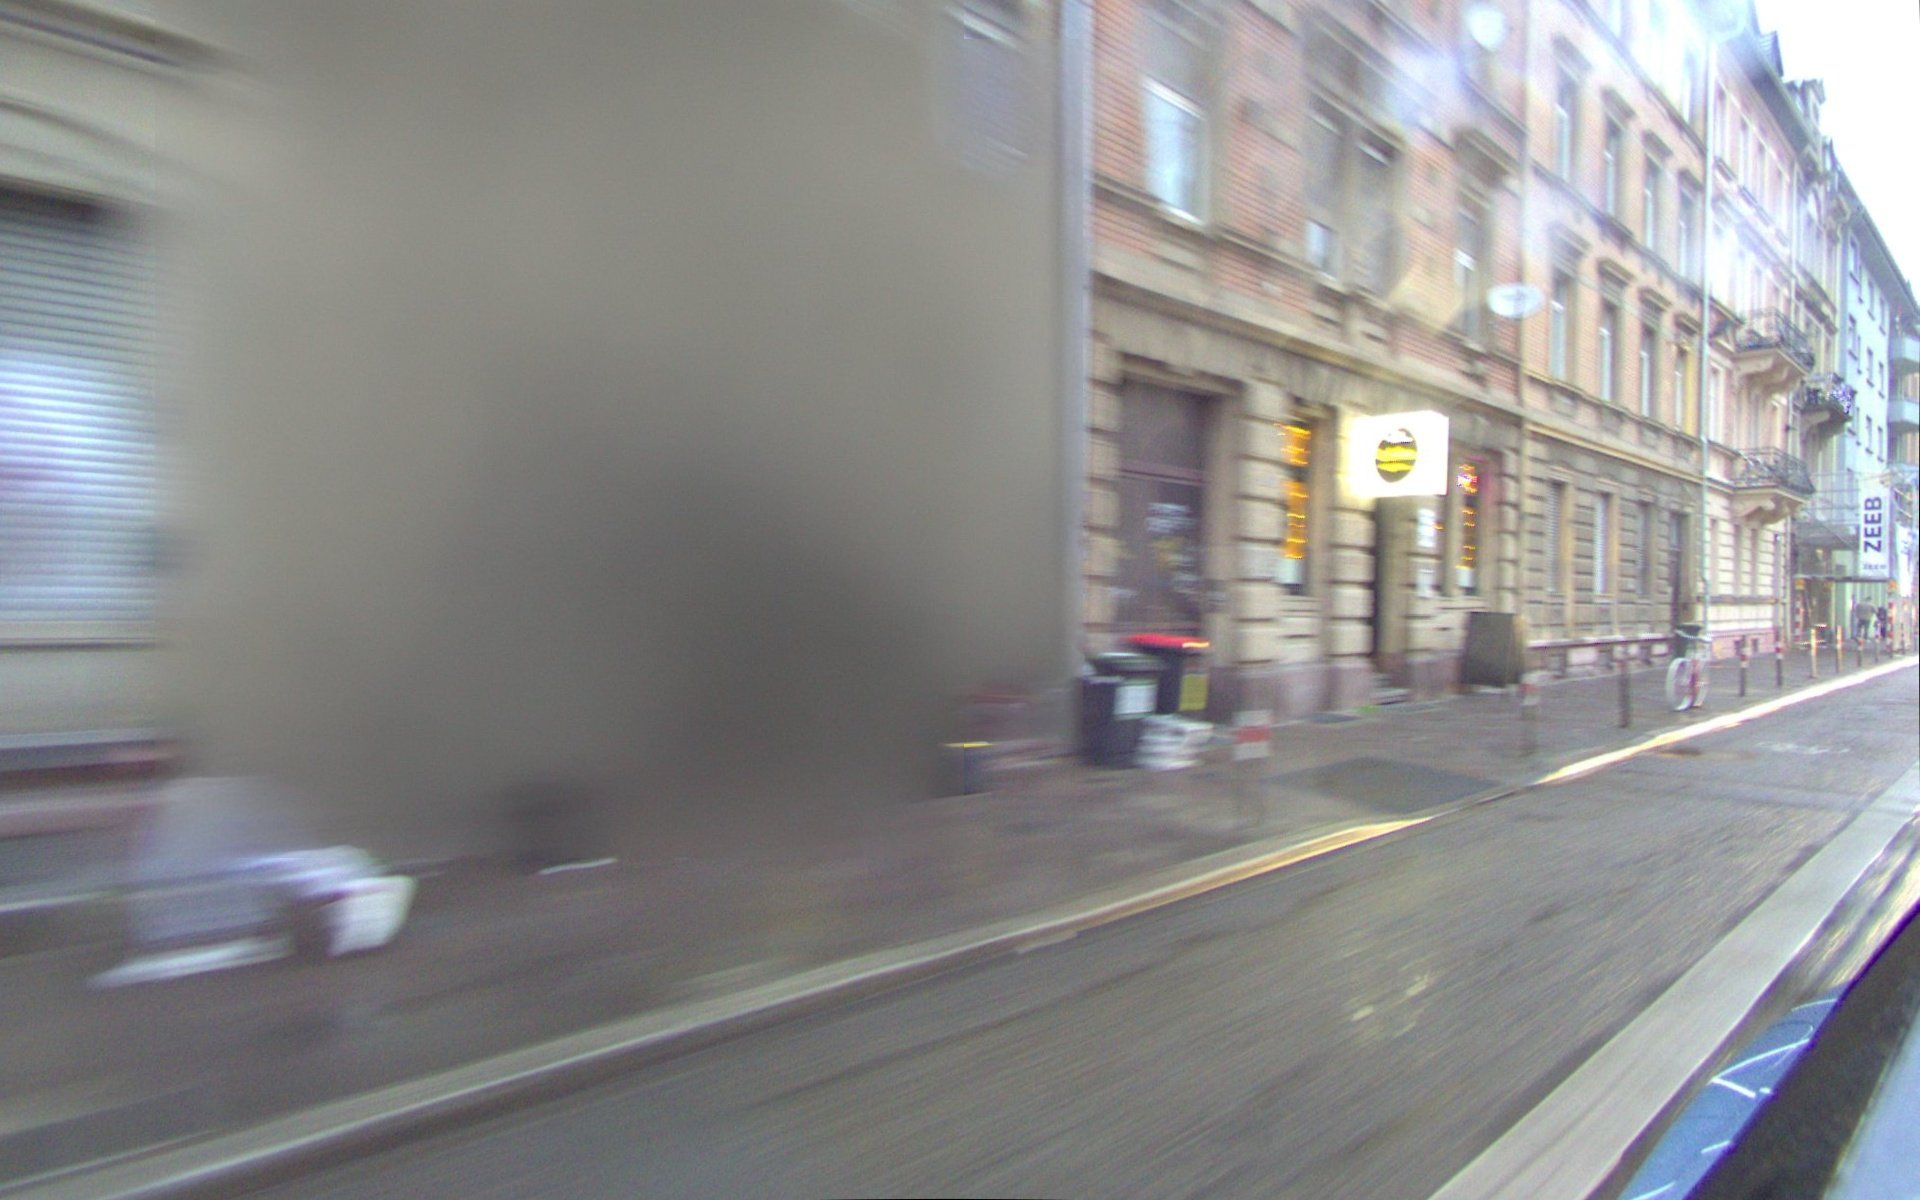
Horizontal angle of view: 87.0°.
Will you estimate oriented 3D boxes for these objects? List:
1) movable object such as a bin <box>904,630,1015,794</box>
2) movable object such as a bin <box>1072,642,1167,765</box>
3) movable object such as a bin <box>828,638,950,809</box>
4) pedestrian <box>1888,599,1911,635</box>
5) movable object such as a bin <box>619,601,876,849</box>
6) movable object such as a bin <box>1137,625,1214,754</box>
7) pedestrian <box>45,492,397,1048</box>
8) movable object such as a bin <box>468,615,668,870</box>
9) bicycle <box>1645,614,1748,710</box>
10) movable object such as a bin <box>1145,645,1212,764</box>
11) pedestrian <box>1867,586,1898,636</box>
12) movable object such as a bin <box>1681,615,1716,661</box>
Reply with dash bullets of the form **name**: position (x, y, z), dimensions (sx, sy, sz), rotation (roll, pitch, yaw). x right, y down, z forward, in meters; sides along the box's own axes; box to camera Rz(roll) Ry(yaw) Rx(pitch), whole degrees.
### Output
- **movable object such as a bin**: position (-0.013, 0.784, 7.349), dimensions (0.587, 1.095, 0.614), rotation (1, 0, -26)
- **movable object such as a bin**: position (1.329, 0.842, 8.462), dimensions (0.483, 0.940, 0.612), rotation (1, 0, -42)
- **movable object such as a bin**: position (-0.505, 0.813, 6.987), dimensions (0.587, 1.051, 0.768), rotation (1, 0, -26)
- **pedestrian**: position (37.801, 0.671, 40.702), dimensions (0.716, 1.394, 0.601), rotation (0, 0, -41)
- **movable object such as a bin**: position (-1.276, 0.671, 6.176), dimensions (0.887, 1.304, 1.243), rotation (1, 1, 42)
- **movable object such as a bin**: position (1.965, 0.790, 9.204), dimensions (0.606, 1.094, 0.488), rotation (1, 0, 21)
- **pedestrian**: position (-2.624, 0.501, 3.712), dimensions (0.934, 1.721, 0.838), rotation (0, 3, -32)
- **movable object such as a bin**: position (-2.150, 0.708, 5.540), dimensions (0.804, 1.226, 0.766), rotation (1, 0, -41)
- **bicycle**: position (10.147, 0.811, 13.914), dimensions (2.150, 1.171, 0.685), rotation (-1, 0, -41)
- **movable object such as a bin**: position (1.873, 0.878, 8.658), dimensions (0.484, 0.940, 0.422), rotation (1, 0, 23)
- **pedestrian**: position (33.985, 0.397, 37.294), dimensions (0.593, 1.841, 0.770), rotation (0, 0, 22)
- **movable object such as a bin**: position (15.876, 0.811, 21.758), dimensions (0.499, 0.943, 0.507), rotation (1, 0, -42)
